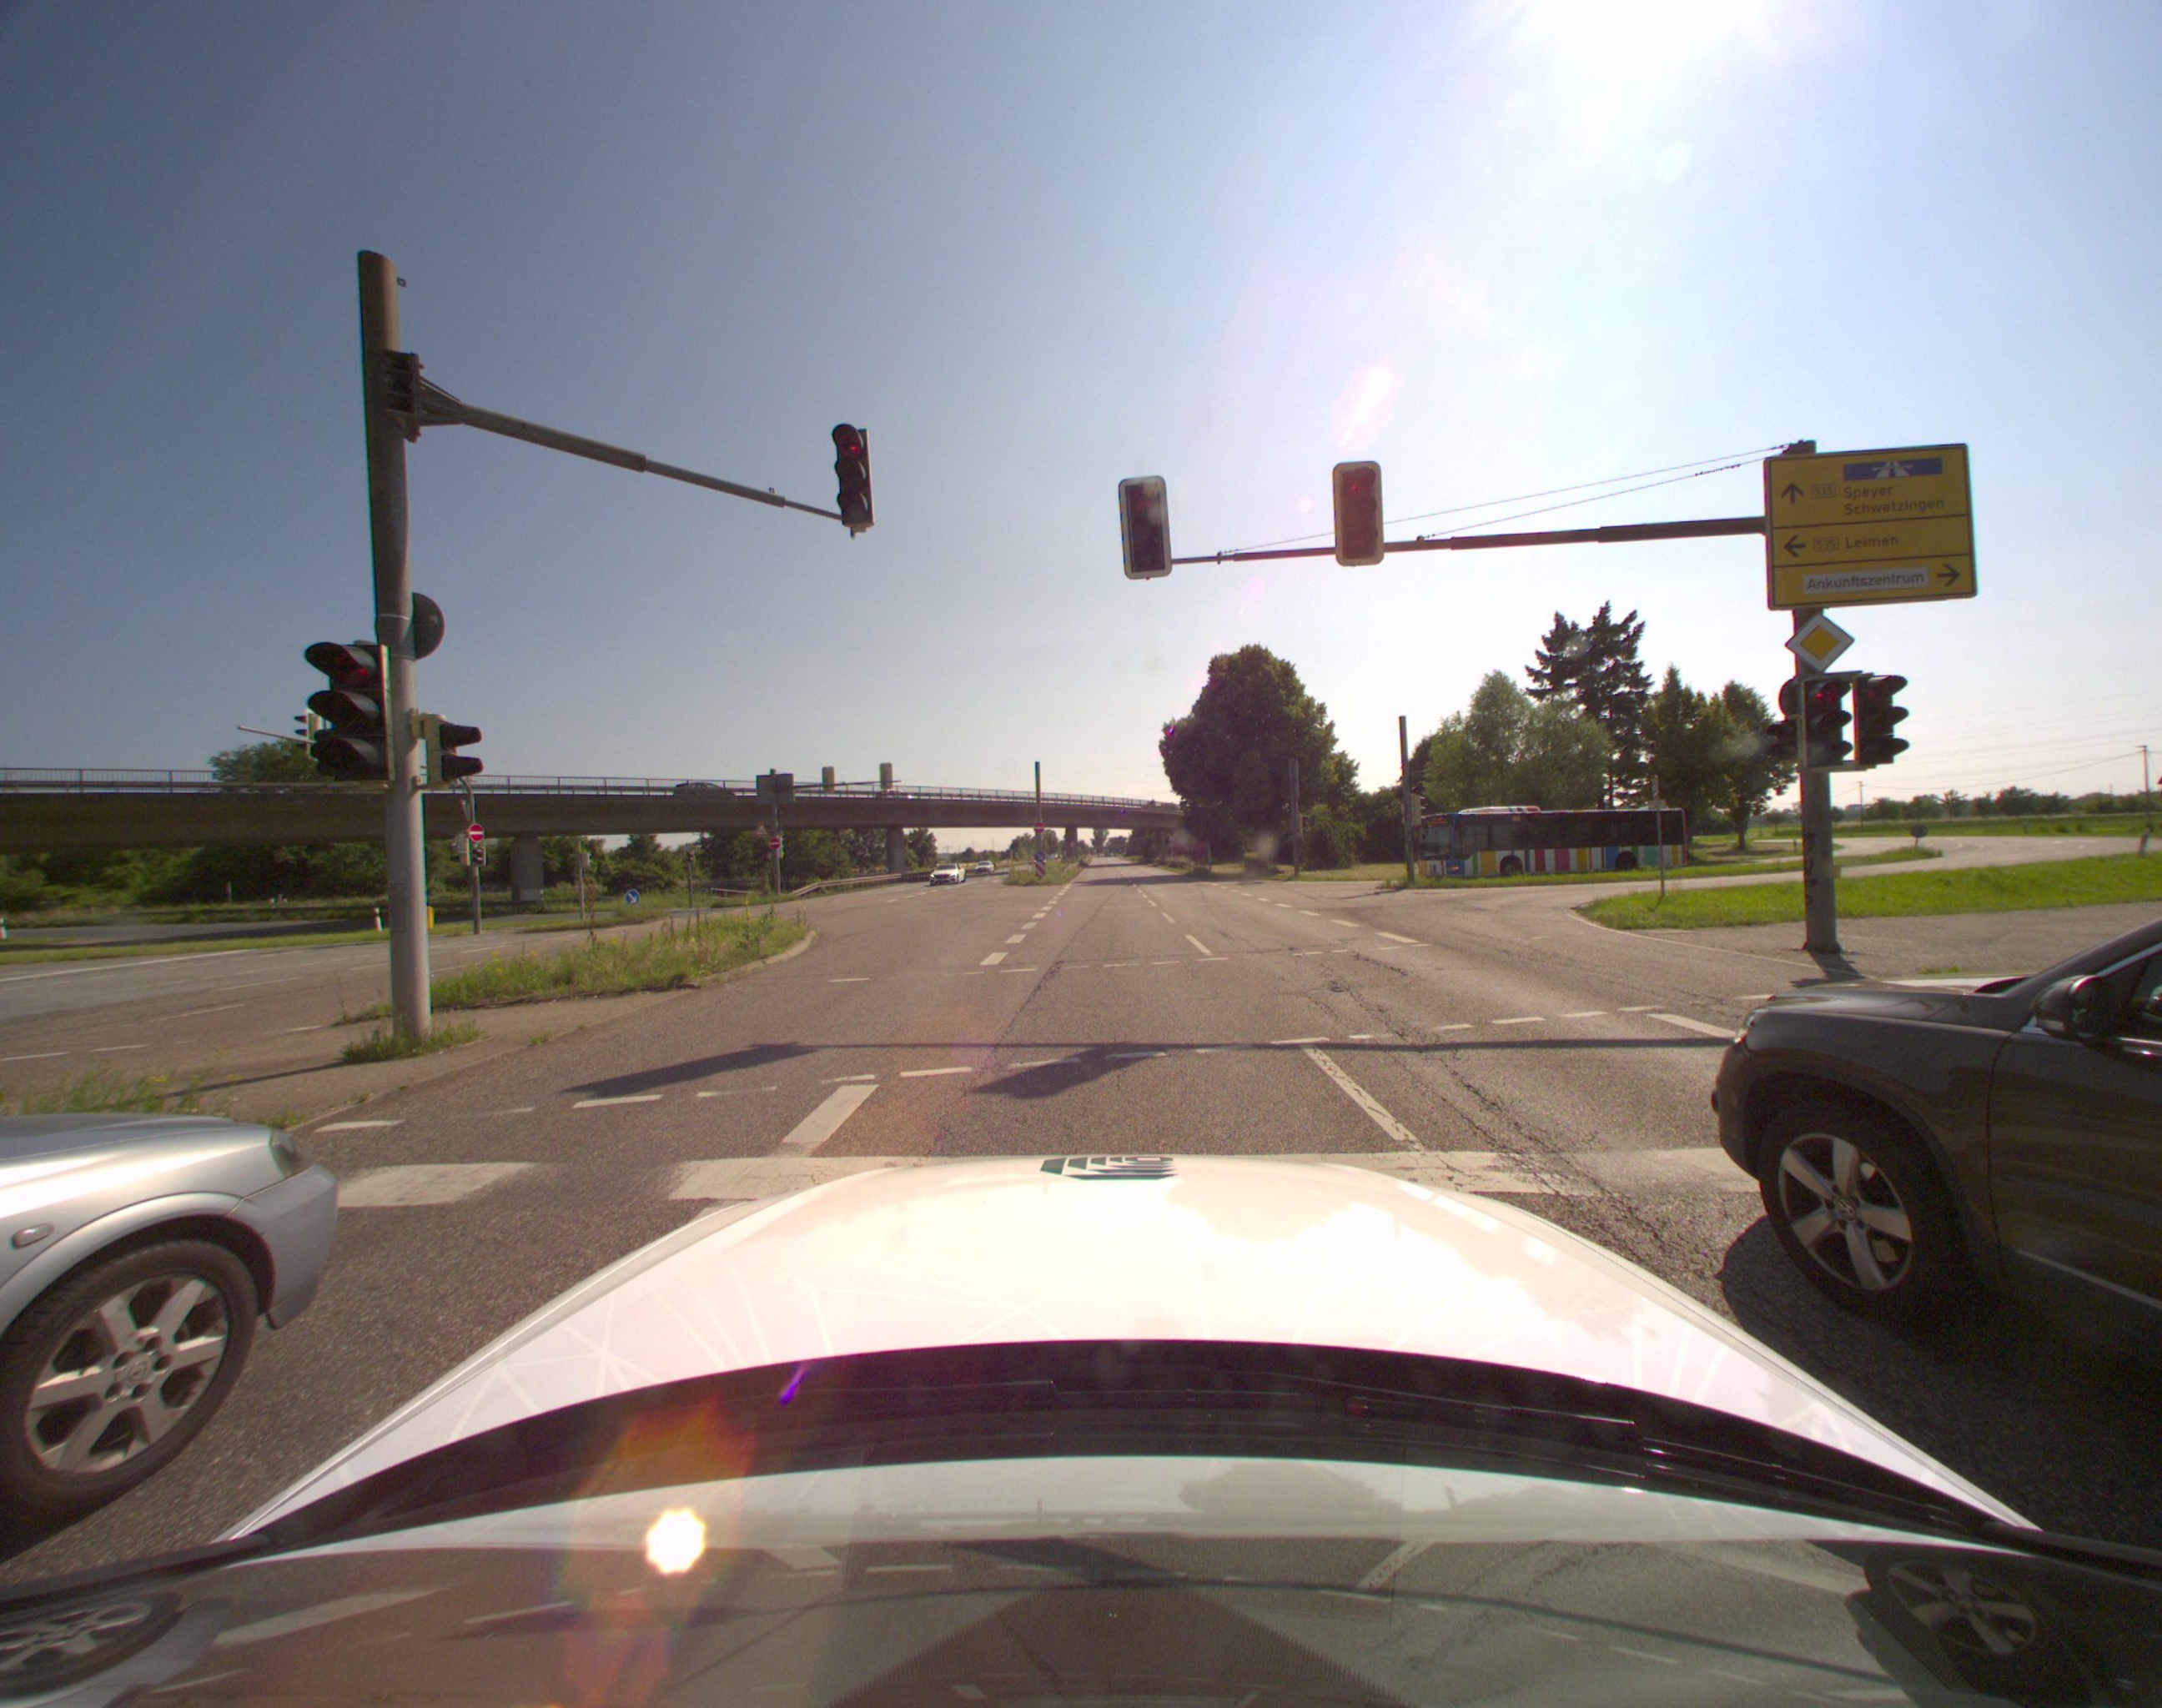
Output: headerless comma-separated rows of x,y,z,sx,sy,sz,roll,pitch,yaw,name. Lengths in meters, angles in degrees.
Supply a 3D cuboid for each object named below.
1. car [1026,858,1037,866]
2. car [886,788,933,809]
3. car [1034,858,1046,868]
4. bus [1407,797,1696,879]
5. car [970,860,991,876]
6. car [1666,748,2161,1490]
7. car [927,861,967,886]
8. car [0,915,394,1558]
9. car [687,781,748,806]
-11.048,1.709,181.371,1.986,1.558,4.001,-3,0,1,car
-14.710,-4.746,69.914,1.721,1.469,3.774,-1,-1,35,car
-6.802,1.475,135.975,1.551,1.540,4.001,-3,0,2,car
20.224,-0.712,35.003,11.954,2.877,2.928,-3,0,-14,bus
-11.614,1.617,94.640,1.784,1.628,4.000,-3,0,1,car
3.269,0.582,1.296,1.749,1.655,4.147,-1,0,1,car
-9.109,1.289,55.796,1.850,1.448,4.241,-5,0,1,car
-3.265,0.913,0.727,1.667,1.335,4.100,-3,0,2,car
-24.887,-4.101,55.805,1.521,1.477,3.412,-5,-1,41,car
